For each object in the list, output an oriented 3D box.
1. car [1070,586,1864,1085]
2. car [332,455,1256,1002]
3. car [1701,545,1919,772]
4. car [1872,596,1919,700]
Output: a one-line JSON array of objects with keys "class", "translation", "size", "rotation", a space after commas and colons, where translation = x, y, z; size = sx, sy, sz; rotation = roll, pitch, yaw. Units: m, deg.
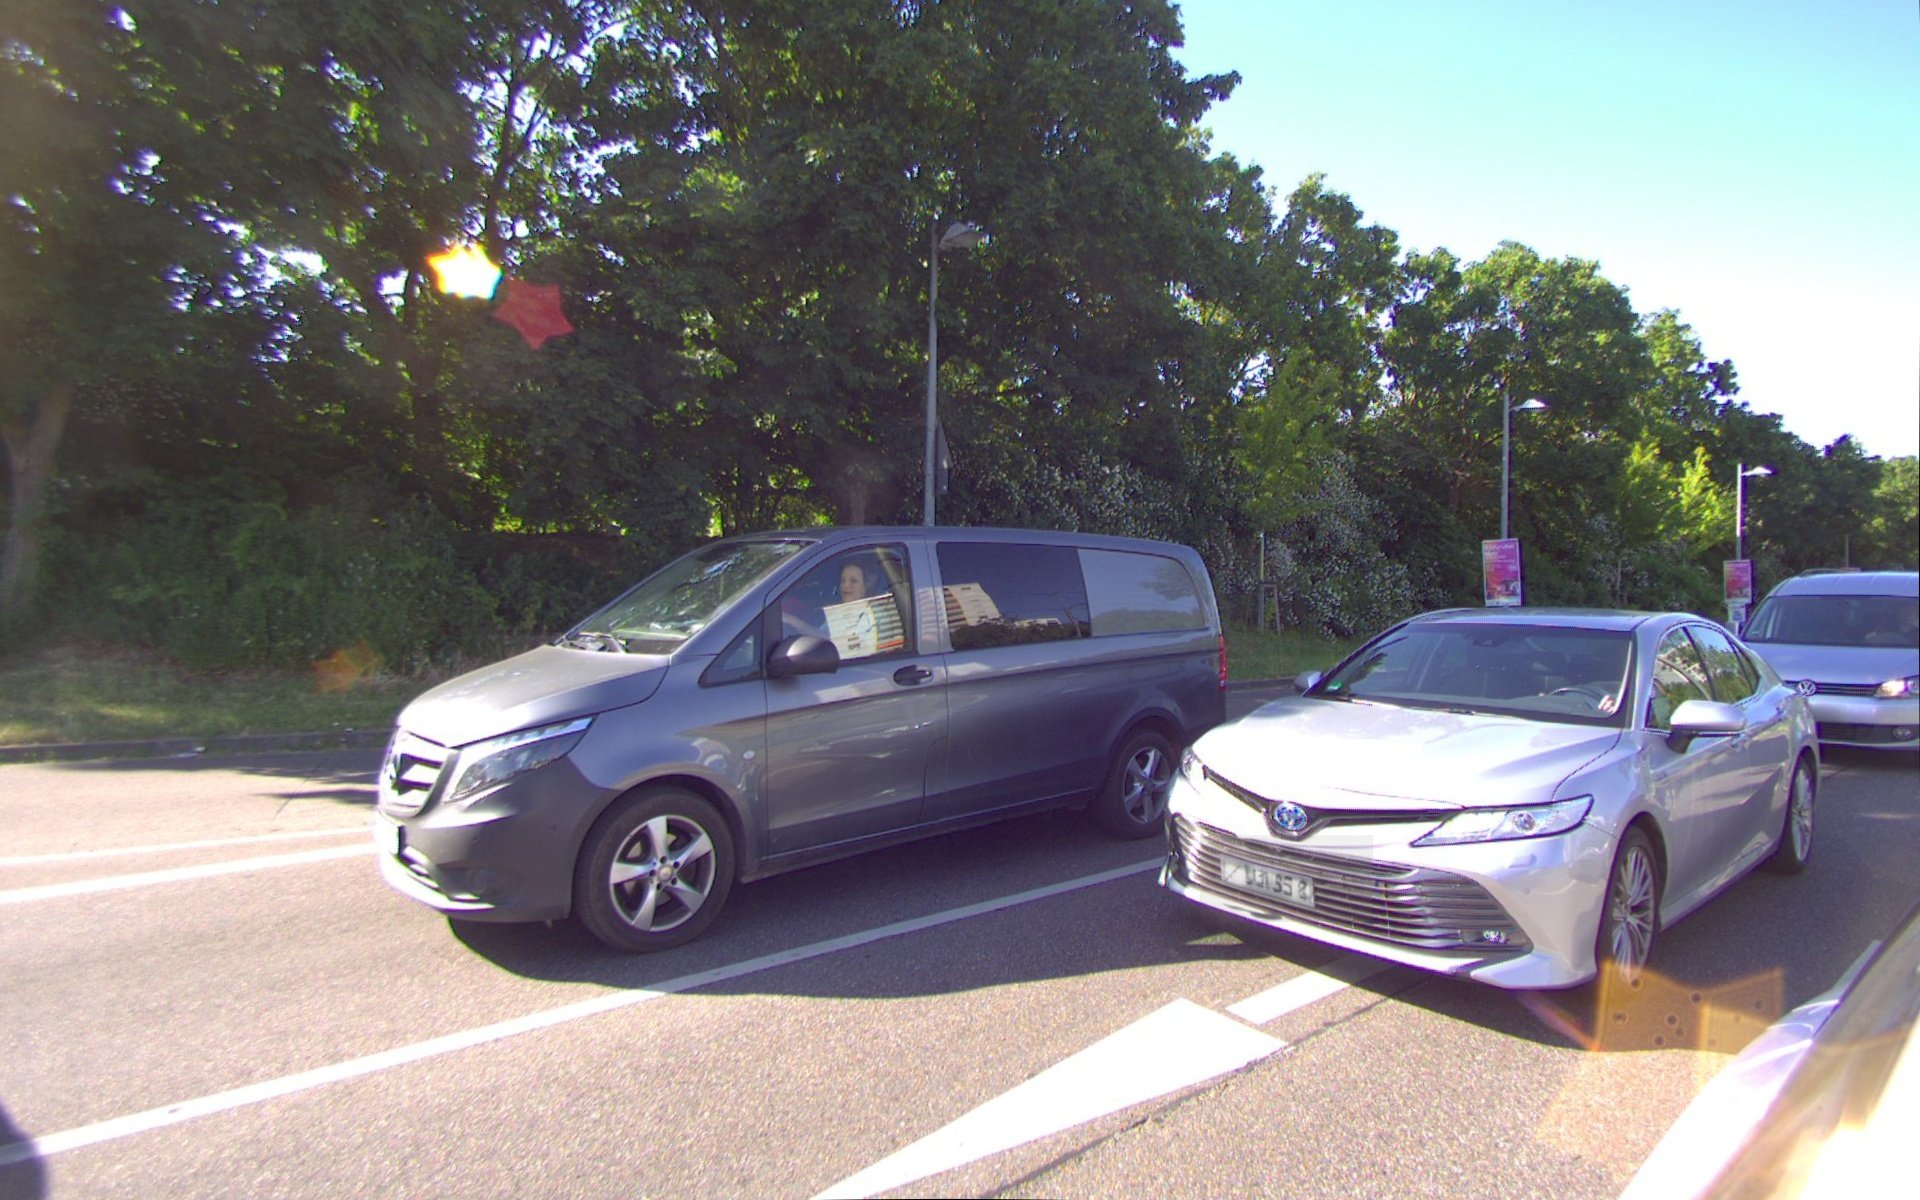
[{"class": "car", "translation": [2.959, 0.696, 5.365], "size": [4.664, 1.477, 2.069], "rotation": [0, 2, -40]}, {"class": "car", "translation": [-0.587, 0.417, 5.949], "size": [5.056, 1.917, 1.998], "rotation": [0, 1, -40]}, {"class": "car", "translation": [9.511, 0.472, 10.557], "size": [4.540, 1.928, 1.822], "rotation": [0, 1, -40]}, {"class": "car", "translation": [14.981, 0.675, 14.882], "size": [3.995, 1.421, 1.776], "rotation": [0, 2, -40]}]
